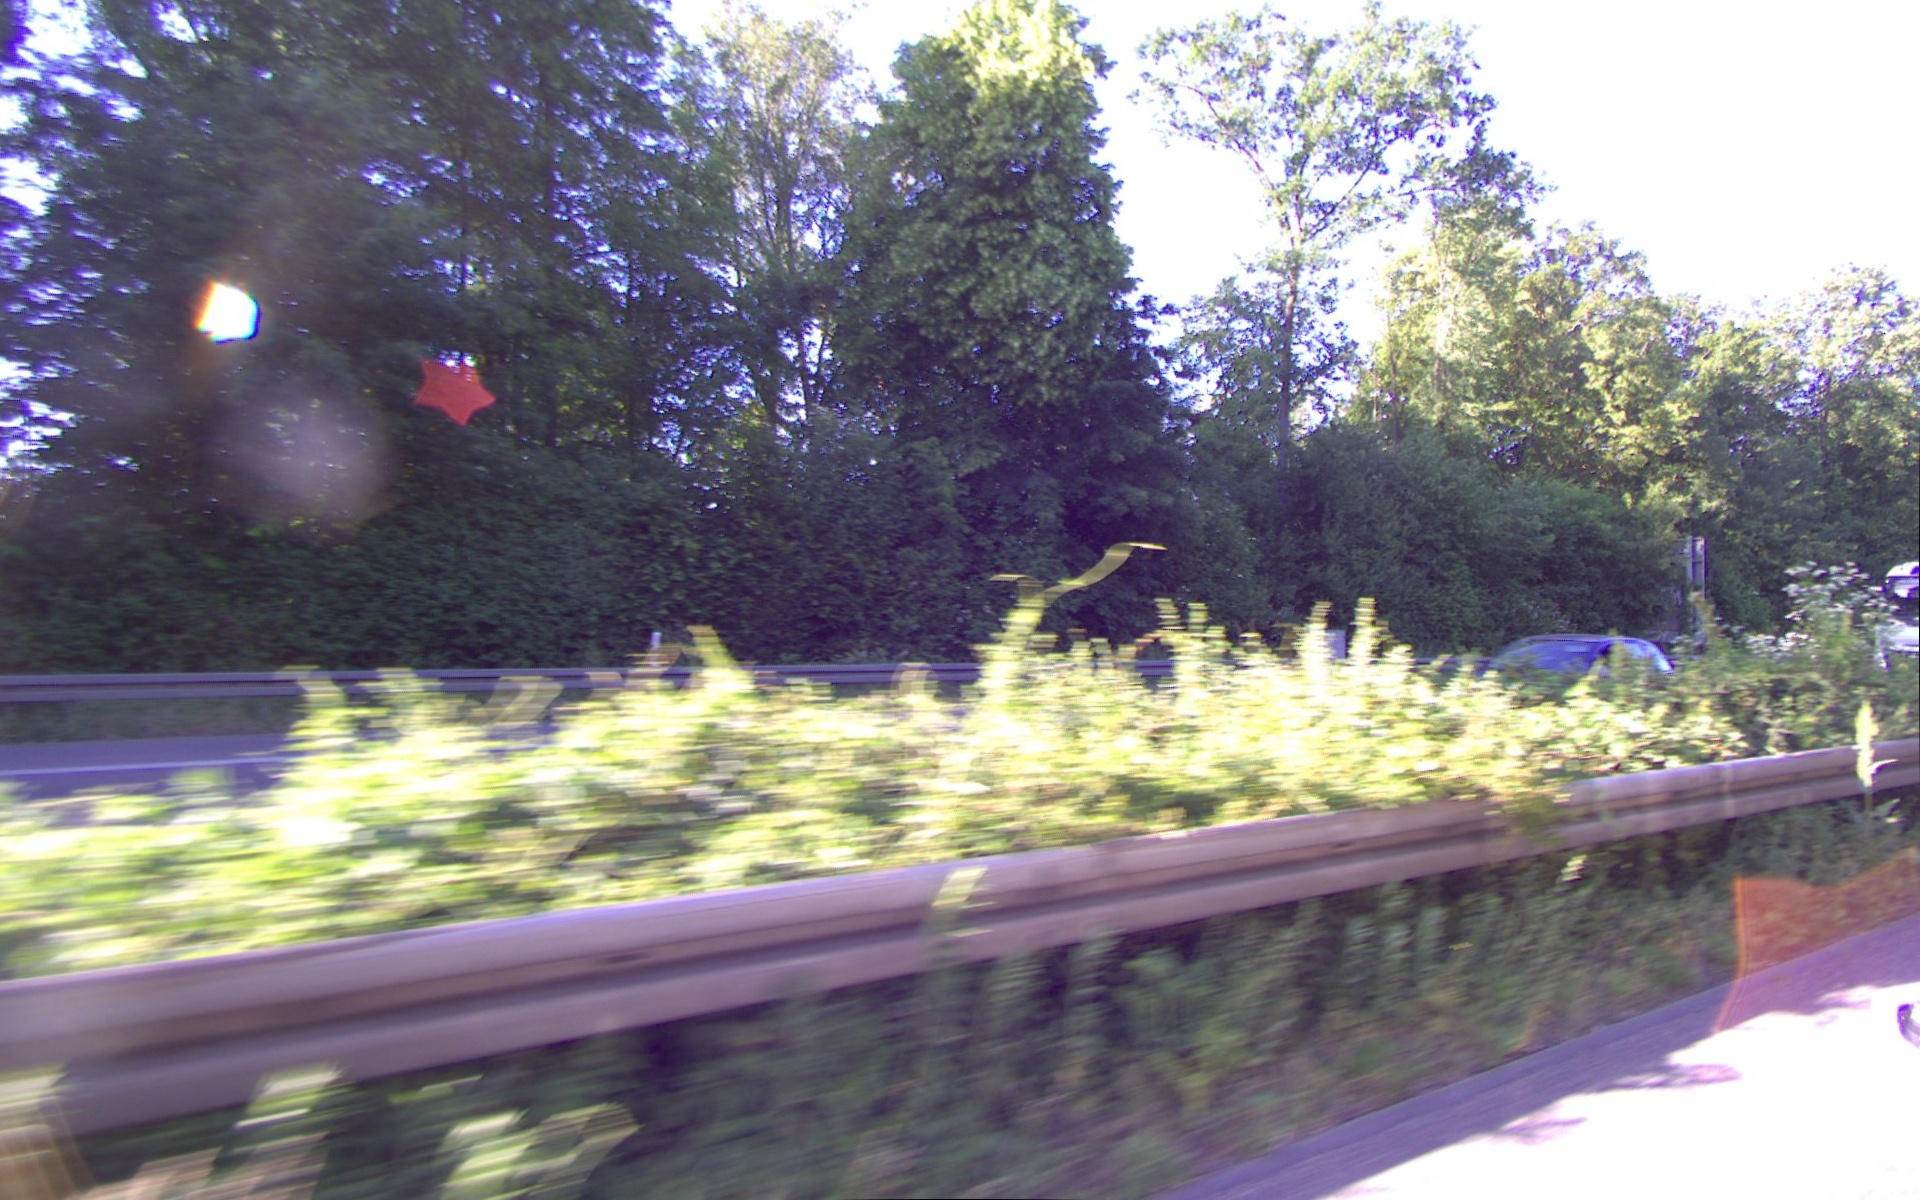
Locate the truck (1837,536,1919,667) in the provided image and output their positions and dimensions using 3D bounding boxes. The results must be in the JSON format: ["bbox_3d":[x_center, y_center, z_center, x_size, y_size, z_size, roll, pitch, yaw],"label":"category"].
[{"bbox_3d":[32.029,0.109,32.986,5.610,4.066,3.213,1,0,-30],"label":"truck"}]

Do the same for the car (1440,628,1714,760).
[{"bbox_3d":[9.065,1.290,14.694,3.943,1.638,1.753,2,0,-30],"label":"car"}]

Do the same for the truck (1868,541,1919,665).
[{"bbox_3d":[37.990,0.254,36.529,14.282,4.066,3.227,1,0,-31],"label":"truck"}]
